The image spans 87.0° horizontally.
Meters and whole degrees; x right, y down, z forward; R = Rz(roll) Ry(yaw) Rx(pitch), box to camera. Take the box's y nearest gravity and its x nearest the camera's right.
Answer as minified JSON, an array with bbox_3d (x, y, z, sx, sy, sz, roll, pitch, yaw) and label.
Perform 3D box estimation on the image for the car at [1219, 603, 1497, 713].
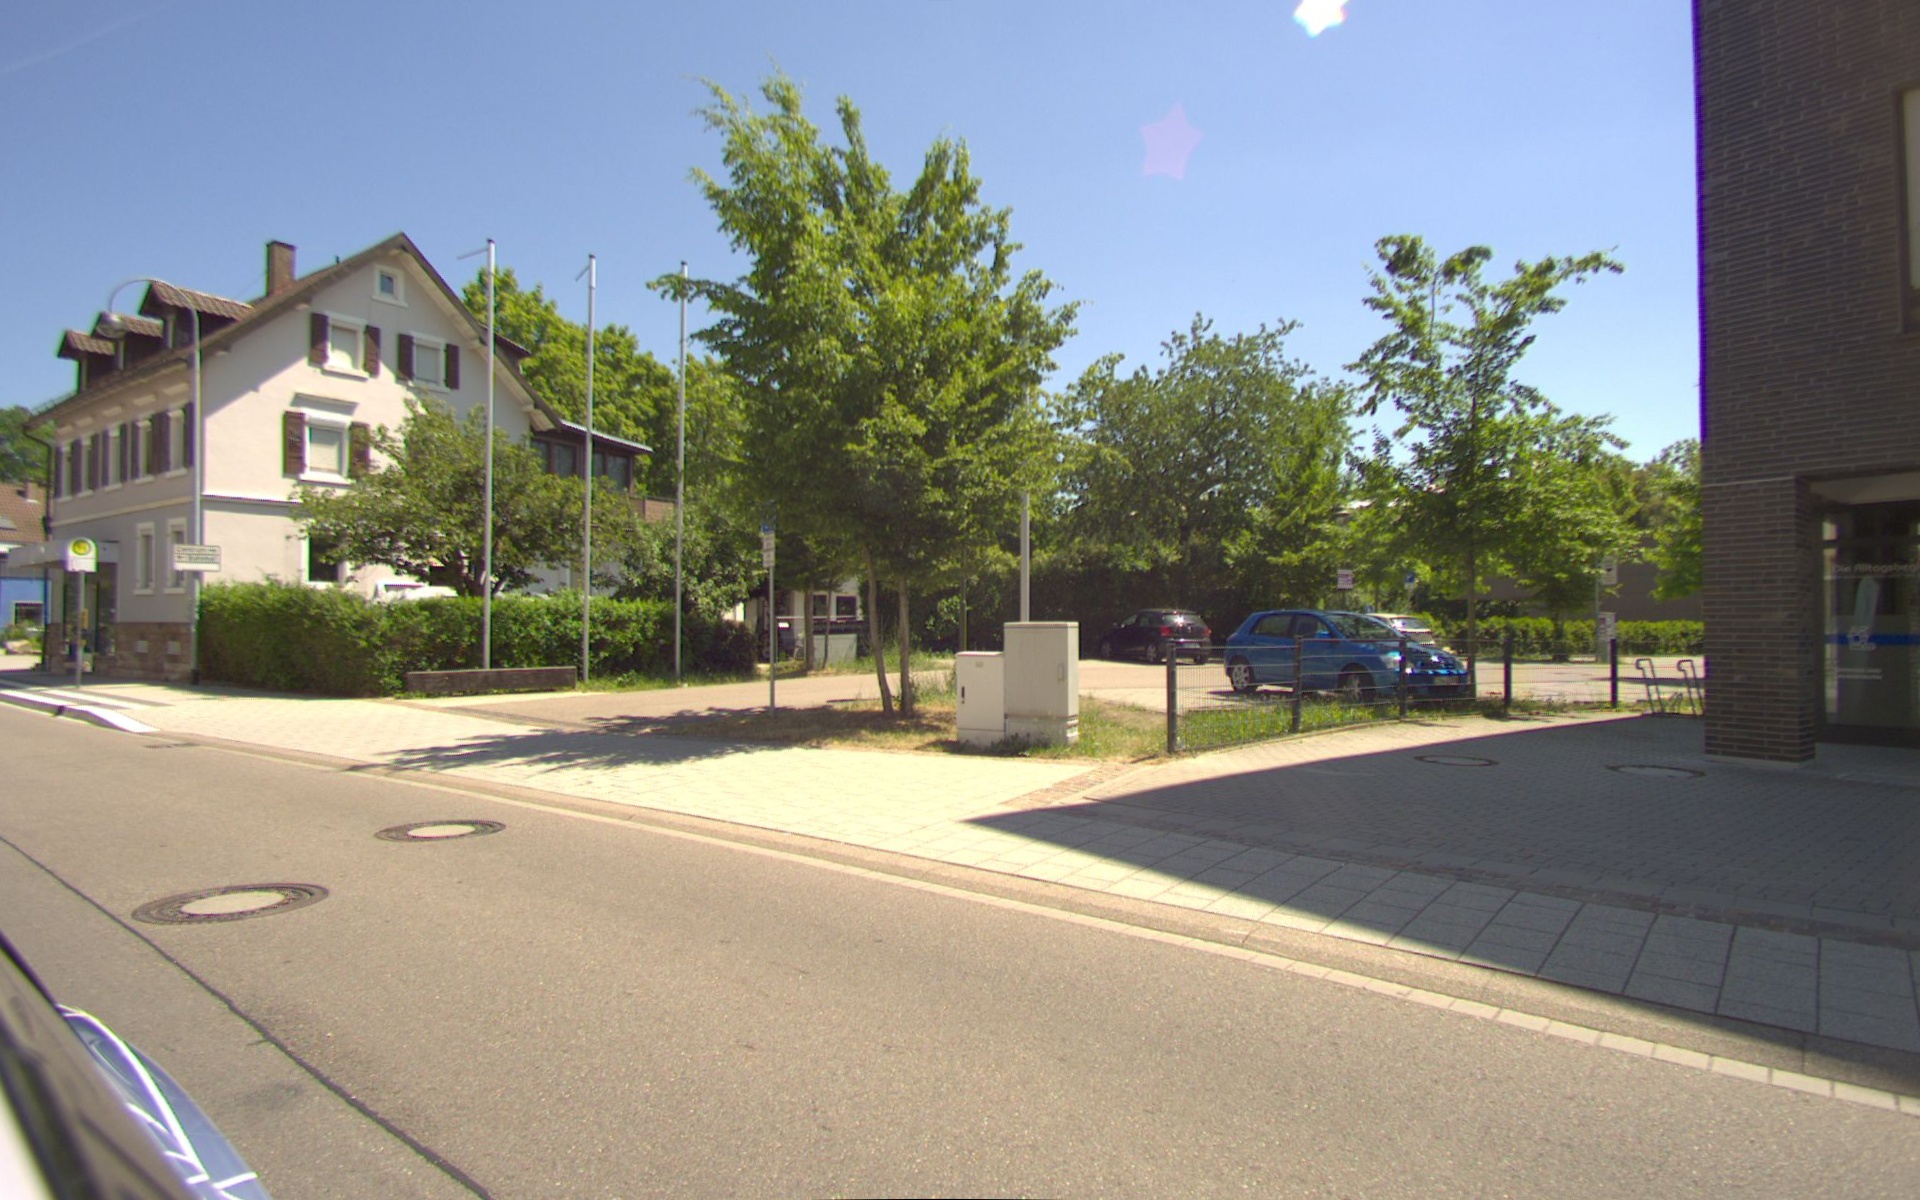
[{"bbox_3d":[6.106,0.866,16.056,1.670,1.497,4.093,2,-2,-24],"label":"car"}]

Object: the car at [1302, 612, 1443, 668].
[{"bbox_3d":[11.970,1.140,29.613,1.662,1.503,3.779,0,-1,-21],"label":"car"}]

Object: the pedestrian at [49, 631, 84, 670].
[{"bbox_3d":[-25.022,1.411,28.330,0.565,1.067,0.591,-1,-2,33],"label":"pedestrian"}]

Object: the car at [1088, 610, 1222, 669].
[{"bbox_3d":[5.239,1.054,27.680,1.662,1.503,3.779,0,-1,-26],"label":"car"}]
